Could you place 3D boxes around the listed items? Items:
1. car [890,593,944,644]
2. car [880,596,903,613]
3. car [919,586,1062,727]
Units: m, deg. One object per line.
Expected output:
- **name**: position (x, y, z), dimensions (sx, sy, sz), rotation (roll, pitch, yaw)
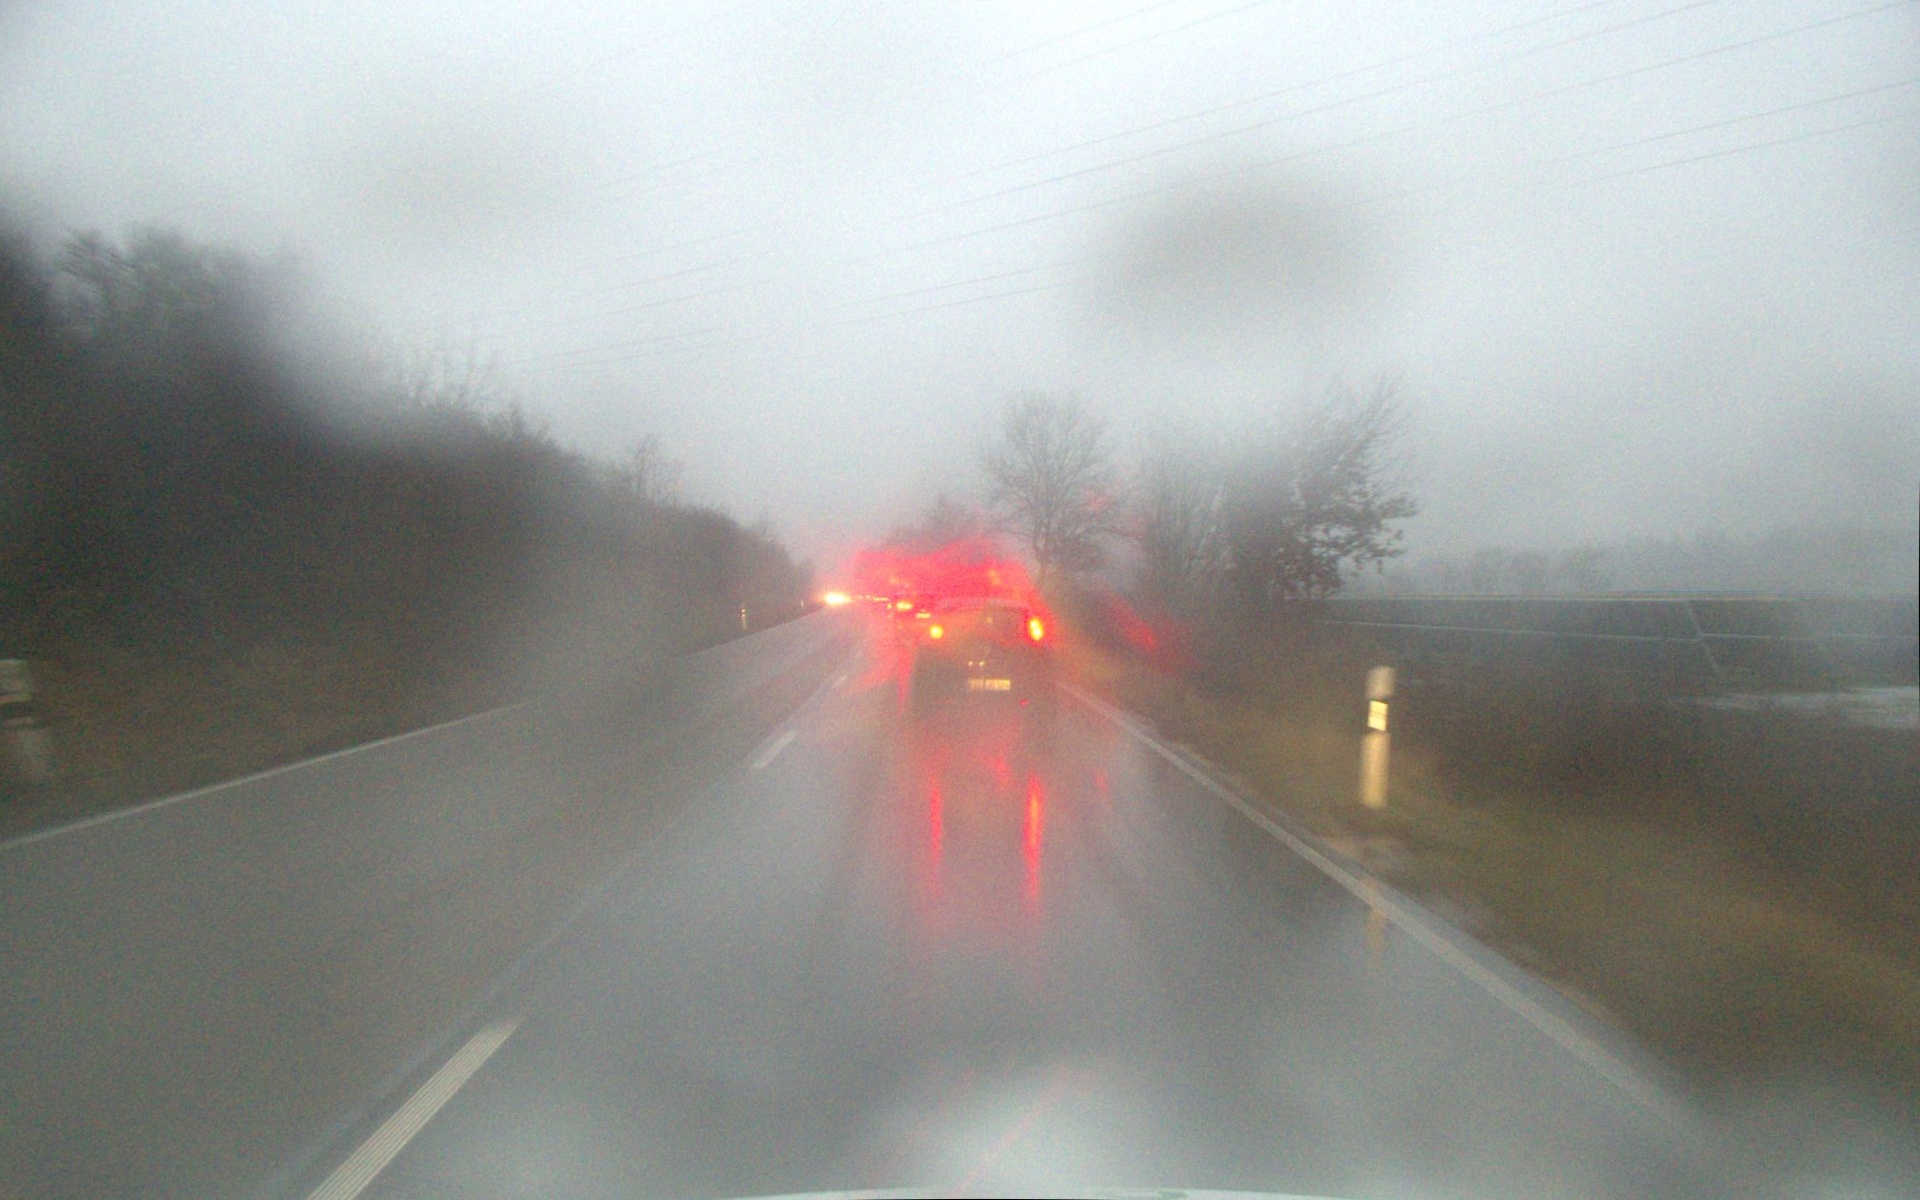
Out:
- **car**: position (-1.233, 0.502, 48.565), dimensions (1.515, 1.421, 3.869), rotation (1, 0, -1)
- **car**: position (-5.963, 0.388, 143.962), dimensions (1.514, 1.421, 3.872), rotation (1, 0, 5)
- **car**: position (0.344, 0.623, 20.330), dimensions (1.569, 1.548, 3.869), rotation (1, 0, 0)
